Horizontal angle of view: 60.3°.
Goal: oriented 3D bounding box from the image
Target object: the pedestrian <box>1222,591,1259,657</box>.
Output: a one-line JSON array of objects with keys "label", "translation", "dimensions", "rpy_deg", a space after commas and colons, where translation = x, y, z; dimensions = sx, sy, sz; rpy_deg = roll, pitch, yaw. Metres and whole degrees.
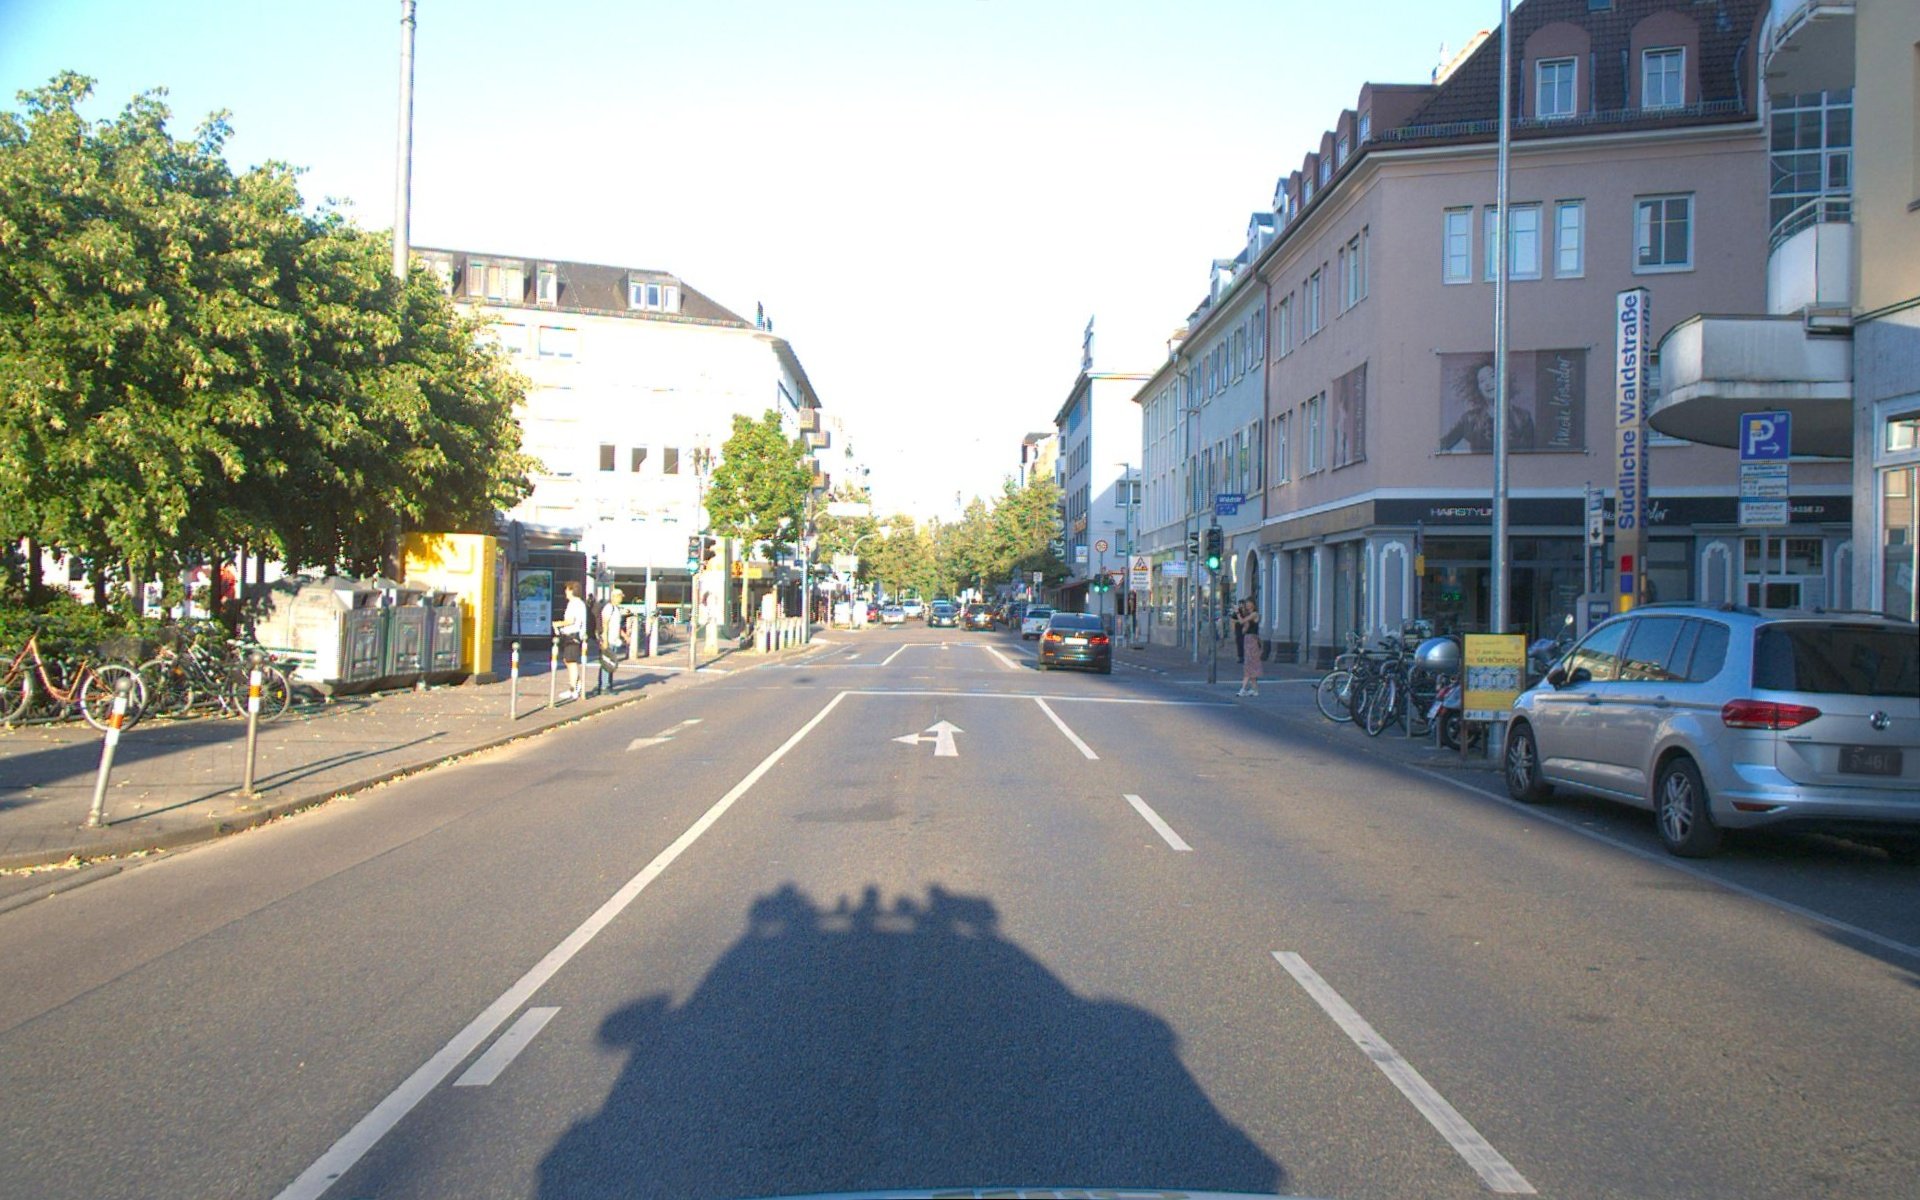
[{"label": "pedestrian", "translation": [7.837, 0.668, 46.189], "dimensions": [0.742, 1.808, 1.047], "rpy_deg": [1, 0, -5]}]

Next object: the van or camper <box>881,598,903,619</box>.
[{"label": "van or camper", "translation": [-8.040, 0.967, 195.844], "dimensions": [2.424, 2.447, 3.996], "rpy_deg": [1, 0, -4]}]

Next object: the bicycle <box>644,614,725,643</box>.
[{"label": "bicycle", "translation": [-10.443, 1.071, 62.777], "dimensions": [2.881, 1.040, 0.843], "rpy_deg": [1, 0, 2]}]

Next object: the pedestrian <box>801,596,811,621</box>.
[{"label": "pedestrian", "translation": [-10.867, 0.582, 116.905], "dimensions": [0.590, 1.751, 0.575], "rpy_deg": [1, 0, -15]}]

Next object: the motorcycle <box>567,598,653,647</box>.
[{"label": "motorcycle", "translation": [-10.658, 0.673, 50.480], "dimensions": [2.364, 1.451, 1.112], "rpy_deg": [1, 0, -1]}]

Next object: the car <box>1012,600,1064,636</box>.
[{"label": "car", "translation": [3.708, 0.830, 79.582], "dimensions": [2.286, 1.632, 3.893], "rpy_deg": [1, 0, 0]}]

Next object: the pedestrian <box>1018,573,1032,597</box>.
[{"label": "pedestrian", "translation": [5.526, -1.257, 140.041], "dimensions": [1.122, 2.049, 1.153], "rpy_deg": [1, 0, 4]}]

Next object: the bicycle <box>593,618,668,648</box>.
[{"label": "bicycle", "translation": [-10.686, 1.069, 53.631], "dimensions": [2.281, 0.935, 0.700], "rpy_deg": [1, 0, -3]}]

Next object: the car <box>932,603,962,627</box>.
[{"label": "car", "translation": [-0.833, 0.988, 110.584], "dimensions": [1.846, 1.512, 4.000], "rpy_deg": [1, 0, 1]}]

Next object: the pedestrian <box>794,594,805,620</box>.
[{"label": "pedestrian", "translation": [-11.147, 0.495, 114.754], "dimensions": [0.670, 1.751, 0.702], "rpy_deg": [1, 0, 0]}]

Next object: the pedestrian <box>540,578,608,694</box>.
[{"label": "pedestrian", "translation": [-5.931, 0.545, 25.409], "dimensions": [0.858, 1.750, 0.753], "rpy_deg": [1, 0, -25]}]

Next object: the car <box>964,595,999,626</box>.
[{"label": "car", "translation": [1.264, 0.608, 98.652], "dimensions": [1.953, 1.780, 4.000], "rpy_deg": [1, 0, 0]}]

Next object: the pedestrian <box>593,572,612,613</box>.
[{"label": "pedestrian", "translation": [-14.599, -0.311, 67.467], "dimensions": [0.543, 1.639, 0.635], "rpy_deg": [1, -1, -34]}]

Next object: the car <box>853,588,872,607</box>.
[{"label": "car", "translation": [-10.934, -0.236, 184.872], "dimensions": [1.790, 2.049, 3.676], "rpy_deg": [1, 0, 1]}]

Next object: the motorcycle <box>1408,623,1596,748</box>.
[{"label": "motorcycle", "translation": [5.786, 0.902, 17.701], "dimensions": [1.776, 1.285, 0.715], "rpy_deg": [0, 0, -3]}]

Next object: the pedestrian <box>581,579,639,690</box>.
[{"label": "pedestrian", "translation": [-5.640, 0.546, 26.673], "dimensions": [0.866, 1.750, 0.713], "rpy_deg": [1, 0, -12]}]

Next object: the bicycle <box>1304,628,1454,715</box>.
[{"label": "bicycle", "translation": [5.768, 0.984, 22.838], "dimensions": [1.847, 1.132, 0.761], "rpy_deg": [1, 0, -4]}]

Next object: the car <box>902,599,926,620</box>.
[{"label": "car", "translation": [-4.074, 0.808, 147.060], "dimensions": [1.952, 1.780, 4.000], "rpy_deg": [1, 0, 1]}]

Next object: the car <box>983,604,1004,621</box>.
[{"label": "car", "translation": [3.179, 1.183, 156.871], "dimensions": [1.745, 1.624, 3.632], "rpy_deg": [1, 0, -3]}]

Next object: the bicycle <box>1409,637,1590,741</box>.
[{"label": "bicycle", "translation": [6.052, 0.986, 18.588], "dimensions": [1.847, 1.132, 0.593], "rpy_deg": [0, 0, -4]}]

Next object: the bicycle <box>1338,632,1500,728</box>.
[{"label": "bicycle", "translation": [5.689, 0.985, 20.535], "dimensions": [1.847, 1.132, 0.521], "rpy_deg": [1, 0, -4]}]

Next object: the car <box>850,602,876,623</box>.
[{"label": "car", "translation": [-8.065, 1.039, 137.954], "dimensions": [1.855, 1.624, 4.000], "rpy_deg": [1, 0, 1]}]

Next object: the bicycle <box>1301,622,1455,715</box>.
[{"label": "bicycle", "translation": [5.552, 0.904, 22.027], "dimensions": [1.847, 1.188, 0.722], "rpy_deg": [0, 0, -4]}]

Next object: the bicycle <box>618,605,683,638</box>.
[{"label": "bicycle", "translation": [-11.136, 0.766, 59.632], "dimensions": [2.191, 1.155, 0.811], "rpy_deg": [1, -1, -3]}]

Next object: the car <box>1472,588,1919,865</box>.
[{"label": "car", "translation": [5.606, 0.774, 12.320], "dimensions": [1.953, 1.641, 4.802], "rpy_deg": [1, 0, -2]}]

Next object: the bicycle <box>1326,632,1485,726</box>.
[{"label": "bicycle", "translation": [5.663, 1.001, 21.075], "dimensions": [1.846, 1.132, 0.601], "rpy_deg": [1, 0, -3]}]

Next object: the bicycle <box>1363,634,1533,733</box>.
[{"label": "bicycle", "translation": [5.804, 0.990, 19.705], "dimensions": [1.847, 1.132, 0.593], "rpy_deg": [1, -2, -4]}]

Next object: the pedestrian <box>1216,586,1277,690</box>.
[{"label": "pedestrian", "translation": [4.890, 0.643, 28.269], "dimensions": [0.779, 1.750, 0.810], "rpy_deg": [1, 0, -8]}]

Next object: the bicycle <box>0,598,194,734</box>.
[{"label": "bicycle", "translation": [-9.275, 0.654, 17.239], "dimensions": [2.451, 1.306, 0.816], "rpy_deg": [1, 0, 20]}]

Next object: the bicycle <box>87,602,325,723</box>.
[{"label": "bicycle", "translation": [-8.532, 0.700, 18.759], "dimensions": [2.382, 1.259, 0.517], "rpy_deg": [2, 0, -3]}]

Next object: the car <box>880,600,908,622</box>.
[{"label": "car", "translation": [-4.961, 0.829, 125.472], "dimensions": [1.855, 1.624, 4.000], "rpy_deg": [1, 0, 1]}]

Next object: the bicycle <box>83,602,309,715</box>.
[{"label": "bicycle", "translation": [-8.958, 0.680, 19.436], "dimensions": [2.382, 1.259, 0.462], "rpy_deg": [1, 0, -3]}]

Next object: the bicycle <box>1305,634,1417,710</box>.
[{"label": "bicycle", "translation": [5.676, 1.012, 23.439], "dimensions": [1.470, 1.044, 0.512], "rpy_deg": [0, 0, -5]}]

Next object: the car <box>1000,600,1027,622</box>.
[{"label": "car", "translation": [4.169, 0.862, 129.334], "dimensions": [1.953, 1.645, 4.000], "rpy_deg": [1, 0, 0]}]

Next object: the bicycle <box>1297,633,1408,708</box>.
[{"label": "bicycle", "translation": [5.668, 1.017, 23.928], "dimensions": [1.470, 1.033, 0.512], "rpy_deg": [1, 0, -3]}]

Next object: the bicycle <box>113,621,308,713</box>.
[{"label": "bicycle", "translation": [-9.054, 0.801, 20.020], "dimensions": [2.002, 0.988, 0.636], "rpy_deg": [3, 0, -3]}]

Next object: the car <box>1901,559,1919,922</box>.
[{"label": "car", "translation": [5.697, 0.753, 6.139], "dimensions": [1.830, 1.793, 4.408], "rpy_deg": [1, 1, -1]}]

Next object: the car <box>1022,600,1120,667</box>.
[{"label": "car", "translation": [2.673, 0.778, 40.697], "dimensions": [1.851, 1.518, 4.201], "rpy_deg": [1, 0, -4]}]

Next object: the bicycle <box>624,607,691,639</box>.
[{"label": "bicycle", "translation": [-11.067, 0.839, 60.549], "dimensions": [2.275, 1.151, 0.800], "rpy_deg": [1, -1, 1]}]
